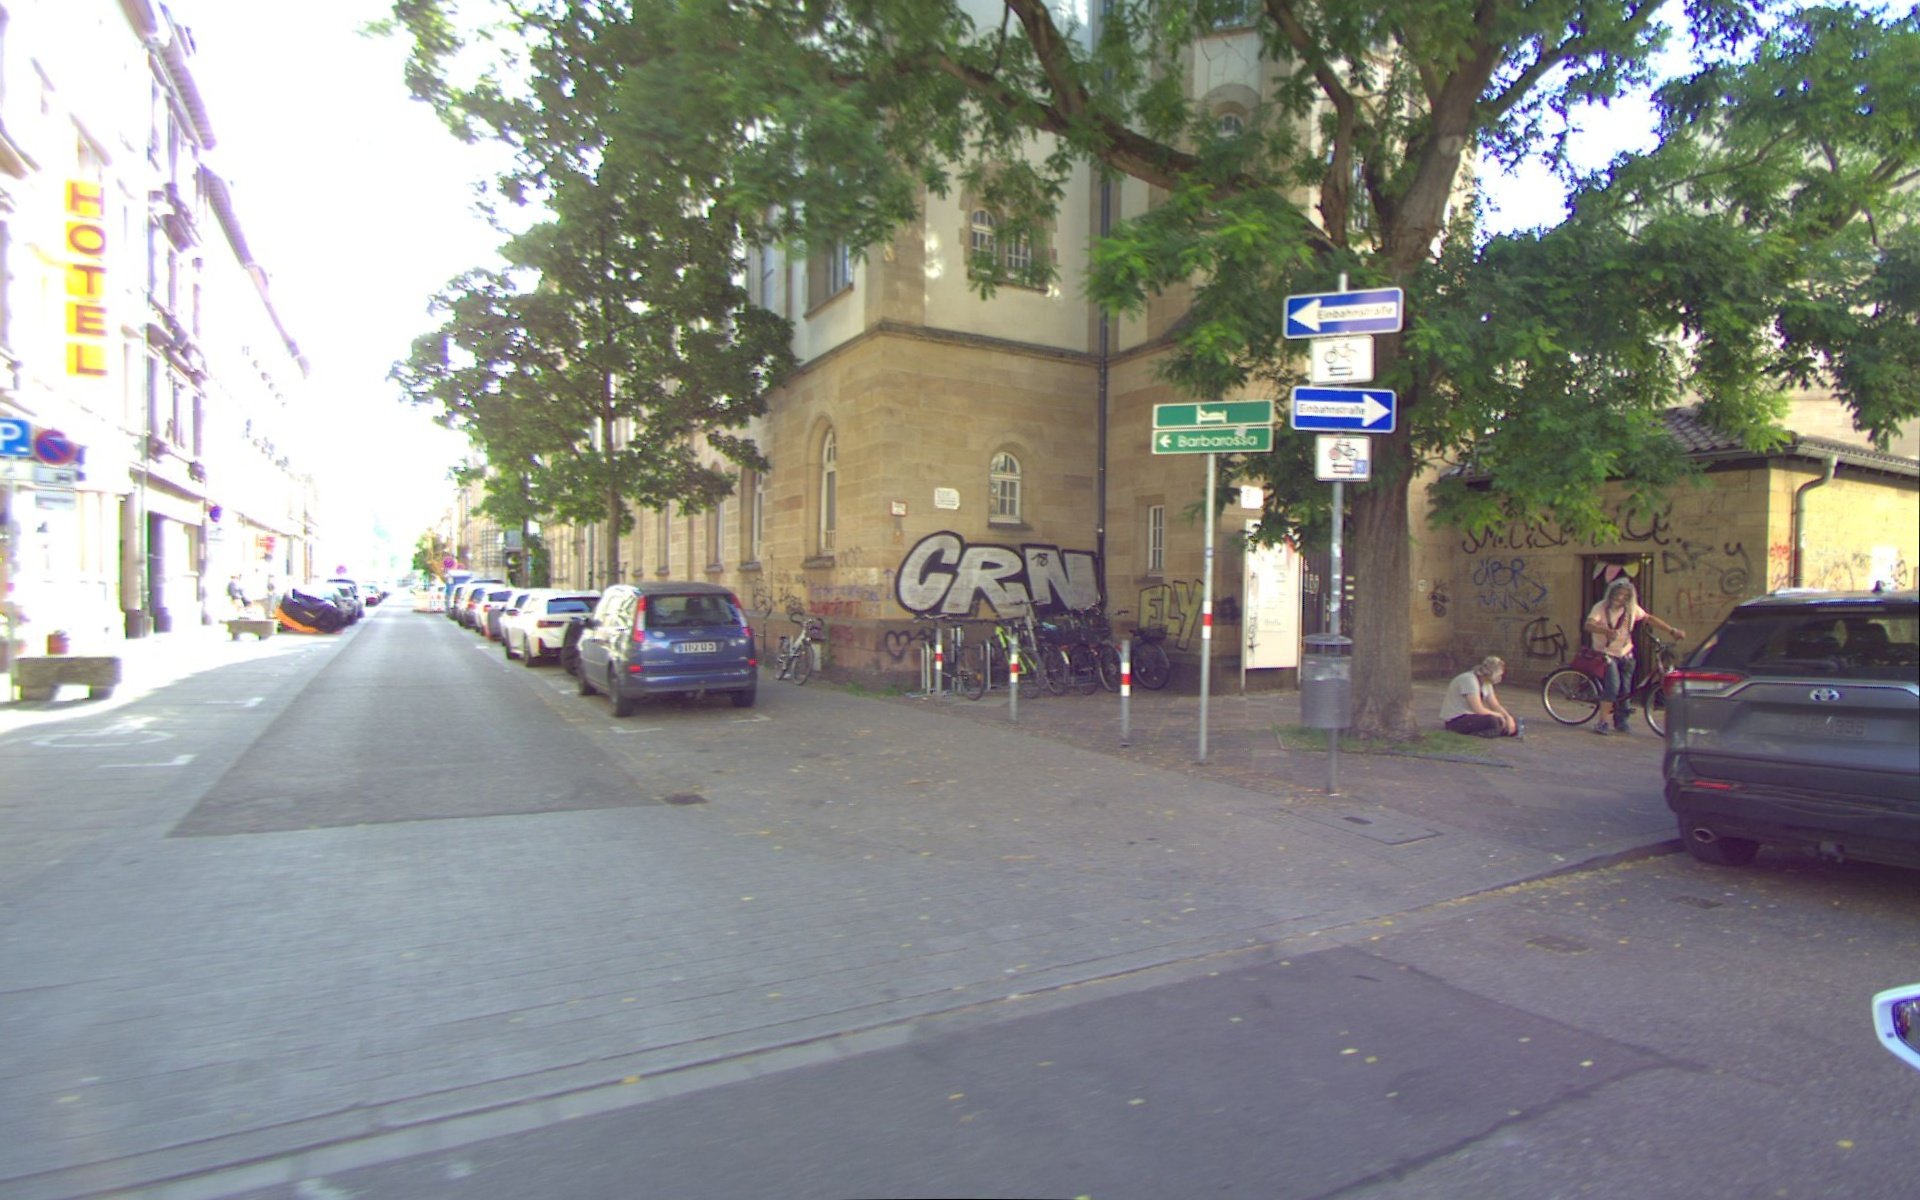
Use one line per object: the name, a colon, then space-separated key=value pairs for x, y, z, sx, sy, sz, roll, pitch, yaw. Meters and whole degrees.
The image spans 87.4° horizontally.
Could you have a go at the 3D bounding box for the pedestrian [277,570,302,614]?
pedestrian: x=-25.328 y=-0.308 z=37.940 sx=0.703 sy=1.588 sz=0.718 roll=1 pitch=4 yaw=-29

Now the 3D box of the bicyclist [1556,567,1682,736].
bicyclist: x=7.201 y=0.534 z=11.004 sx=0.682 sy=1.746 sz=0.803 roll=1 pitch=4 yaw=-21

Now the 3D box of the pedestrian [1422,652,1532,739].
pedestrian: x=5.367 y=0.969 z=10.422 sx=0.904 sy=0.788 sz=0.700 roll=1 pitch=1 yaw=37

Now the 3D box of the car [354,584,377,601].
car: x=-43.765 y=-0.578 z=73.919 sx=1.369 sy=1.178 sz=3.296 roll=0 pitch=1 yaw=-32

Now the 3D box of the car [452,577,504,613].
car: x=-20.416 y=-0.233 z=42.457 sx=1.711 sy=1.439 sz=3.889 roll=1 pitch=1 yaw=-30

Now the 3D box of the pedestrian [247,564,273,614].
pedestrian: x=-25.693 y=-0.393 z=36.882 sx=0.703 sy=1.782 sz=0.718 roll=1 pitch=4 yaw=-29

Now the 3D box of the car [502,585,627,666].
car: x=-8.173 y=0.442 z=20.554 sx=1.775 sy=1.439 sz=4.243 roll=1 pitch=1 yaw=-30

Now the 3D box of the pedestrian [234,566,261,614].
pedestrian: x=-27.466 y=-0.404 z=38.736 sx=0.713 sy=1.782 sz=0.707 roll=1 pitch=4 yaw=-24

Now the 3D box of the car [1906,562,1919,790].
car: x=10.276 y=0.654 z=8.637 sx=4.410 sy=1.887 sz=1.837 roll=0 pitch=1 yaw=-29

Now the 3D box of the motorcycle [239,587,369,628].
motorcycle: x=-20.021 y=0.243 z=30.743 sx=2.999 sy=1.076 sz=1.336 roll=3 pitch=0 yaw=-6

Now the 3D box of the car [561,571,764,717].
car: x=-4.087 y=0.436 z=13.358 sx=1.749 sy=1.620 sz=3.968 roll=-1 pitch=2 yaw=-29

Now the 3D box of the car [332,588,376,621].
car: x=-22.919 y=0.145 z=37.951 sx=1.369 sy=1.178 sz=3.296 roll=0 pitch=1 yaw=-32

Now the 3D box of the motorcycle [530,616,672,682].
motorcycle: x=-5.746 y=0.765 z=16.127 sx=2.080 sy=0.988 sz=0.566 roll=1 pitch=1 yaw=-31

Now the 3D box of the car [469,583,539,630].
car: x=-15.261 y=0.191 z=33.510 sx=1.711 sy=1.439 sz=4.106 roll=1 pitch=1 yaw=-30

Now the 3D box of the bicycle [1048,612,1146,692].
bicycle: x=2.009 y=0.739 z=14.947 sx=0.472 sy=1.068 sz=1.767 roll=0 pitch=1 yaw=-29

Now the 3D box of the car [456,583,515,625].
car: x=-17.912 y=0.117 z=37.819 sx=1.711 sy=1.439 sz=3.889 roll=1 pitch=1 yaw=-30

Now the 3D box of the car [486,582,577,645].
car: x=-11.350 y=0.314 z=26.435 sx=1.711 sy=1.481 sz=4.243 roll=1 pitch=1 yaw=-30

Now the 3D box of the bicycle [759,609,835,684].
bicycle: x=-2.632 y=0.702 z=16.047 sx=0.527 sy=1.068 sz=2.063 roll=0 pitch=1 yaw=-29

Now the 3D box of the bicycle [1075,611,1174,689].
bicycle: x=2.468 y=0.727 z=15.248 sx=0.472 sy=1.068 sz=1.767 roll=0 pitch=1 yaw=-29

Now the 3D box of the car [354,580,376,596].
car: x=-46.387 y=-0.941 z=78.300 sx=1.369 sy=1.178 sz=3.296 roll=0 pitch=1 yaw=-32

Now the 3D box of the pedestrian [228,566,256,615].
pedestrian: x=-27.157 y=-0.364 z=37.997 sx=0.713 sy=1.782 sz=0.707 roll=1 pitch=4 yaw=-24

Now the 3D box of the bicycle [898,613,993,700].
bicycle: x=-0.226 y=0.731 z=13.793 sx=0.527 sy=1.068 sz=1.767 roll=0 pitch=1 yaw=-29

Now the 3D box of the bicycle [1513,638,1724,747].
bicycle: x=7.180 y=0.967 z=11.062 sx=0.814 sy=0.935 sz=1.758 roll=1 pitch=3 yaw=-21

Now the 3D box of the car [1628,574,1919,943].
car: x=5.964 y=0.730 z=5.965 sx=4.241 sy=1.668 sz=1.731 roll=1 pitch=1 yaw=-32

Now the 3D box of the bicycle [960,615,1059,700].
bicycle: x=0.664 y=0.774 z=14.148 sx=0.527 sy=1.068 sz=1.767 roll=0 pitch=1 yaw=-29

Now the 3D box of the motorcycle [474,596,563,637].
motorcycle: x=-12.799 y=0.481 z=29.132 sx=2.283 sy=1.076 sz=0.917 roll=3 pitch=-1 yaw=-29

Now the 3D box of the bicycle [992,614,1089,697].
bicycle: x=1.123 y=0.763 z=14.420 sx=0.472 sy=1.068 sz=1.767 roll=0 pitch=1 yaw=-29

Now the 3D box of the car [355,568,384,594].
car: x=-50.728 y=-1.641 z=86.311 sx=2.029 sy=2.133 sz=4.605 roll=1 pitch=2 yaw=-29

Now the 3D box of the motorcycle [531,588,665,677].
motorcycle: x=-6.209 y=0.543 z=17.264 sx=2.080 sy=1.440 sz=0.656 roll=1 pitch=1 yaw=-31

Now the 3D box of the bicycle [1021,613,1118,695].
bicycle: x=1.569 y=0.756 z=14.675 sx=0.472 sy=1.068 sz=1.767 roll=0 pitch=1 yaw=-29
